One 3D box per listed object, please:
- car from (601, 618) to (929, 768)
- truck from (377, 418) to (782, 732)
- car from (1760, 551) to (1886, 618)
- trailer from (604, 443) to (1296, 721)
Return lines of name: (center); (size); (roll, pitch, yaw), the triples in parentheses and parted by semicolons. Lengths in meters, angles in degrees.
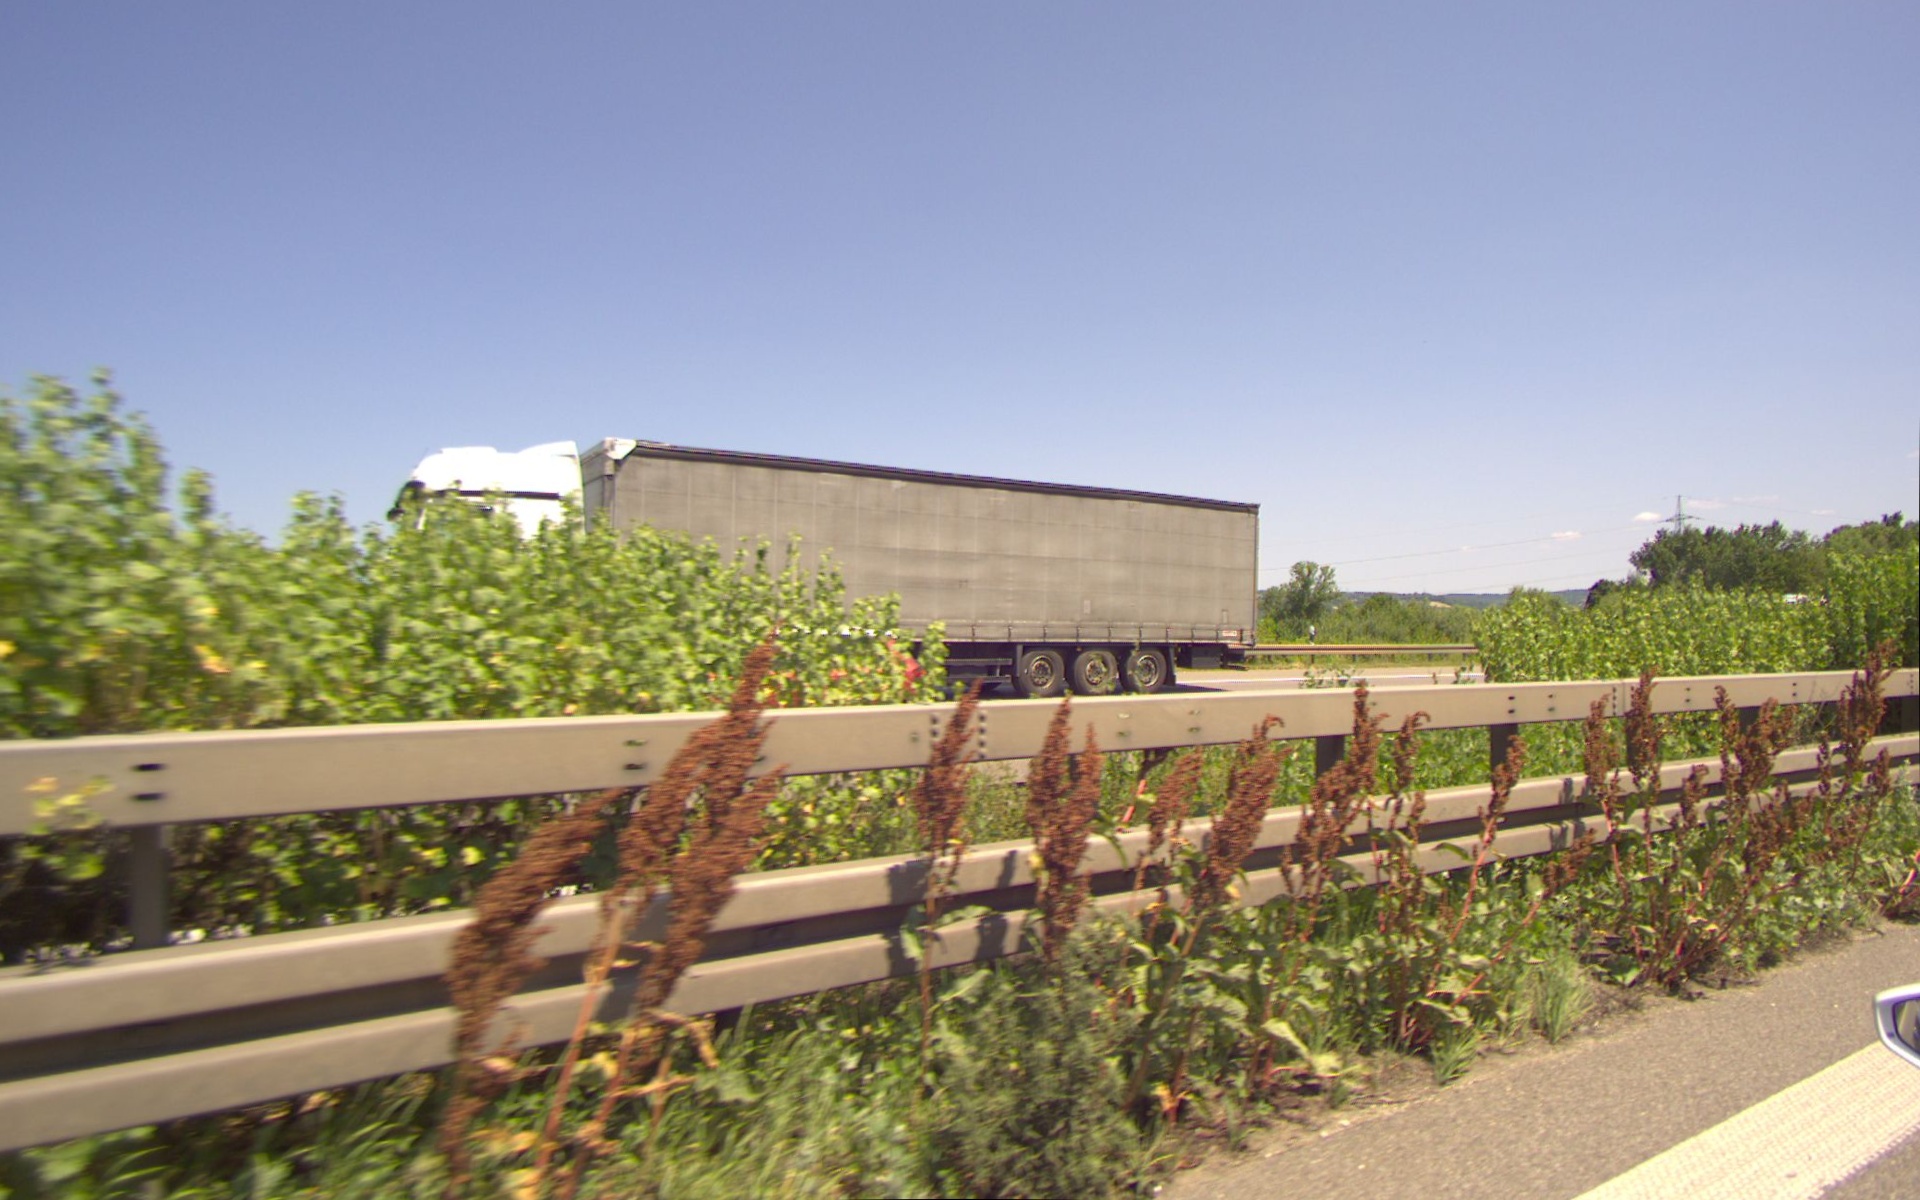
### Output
car: (-2.372, 1.026, 12.361); (3.612, 1.555, 1.680); (1, 0, -30)
truck: (-5.997, -0.311, 15.987); (5.553, 4.164, 2.997); (1, 0, -29)
car: (25.523, -0.439, 29.678); (3.723, 1.852, 1.622); (1, 0, -29)
trailer: (0.532, -0.185, 19.680); (13.873, 4.131, 2.955); (1, 0, -30)
